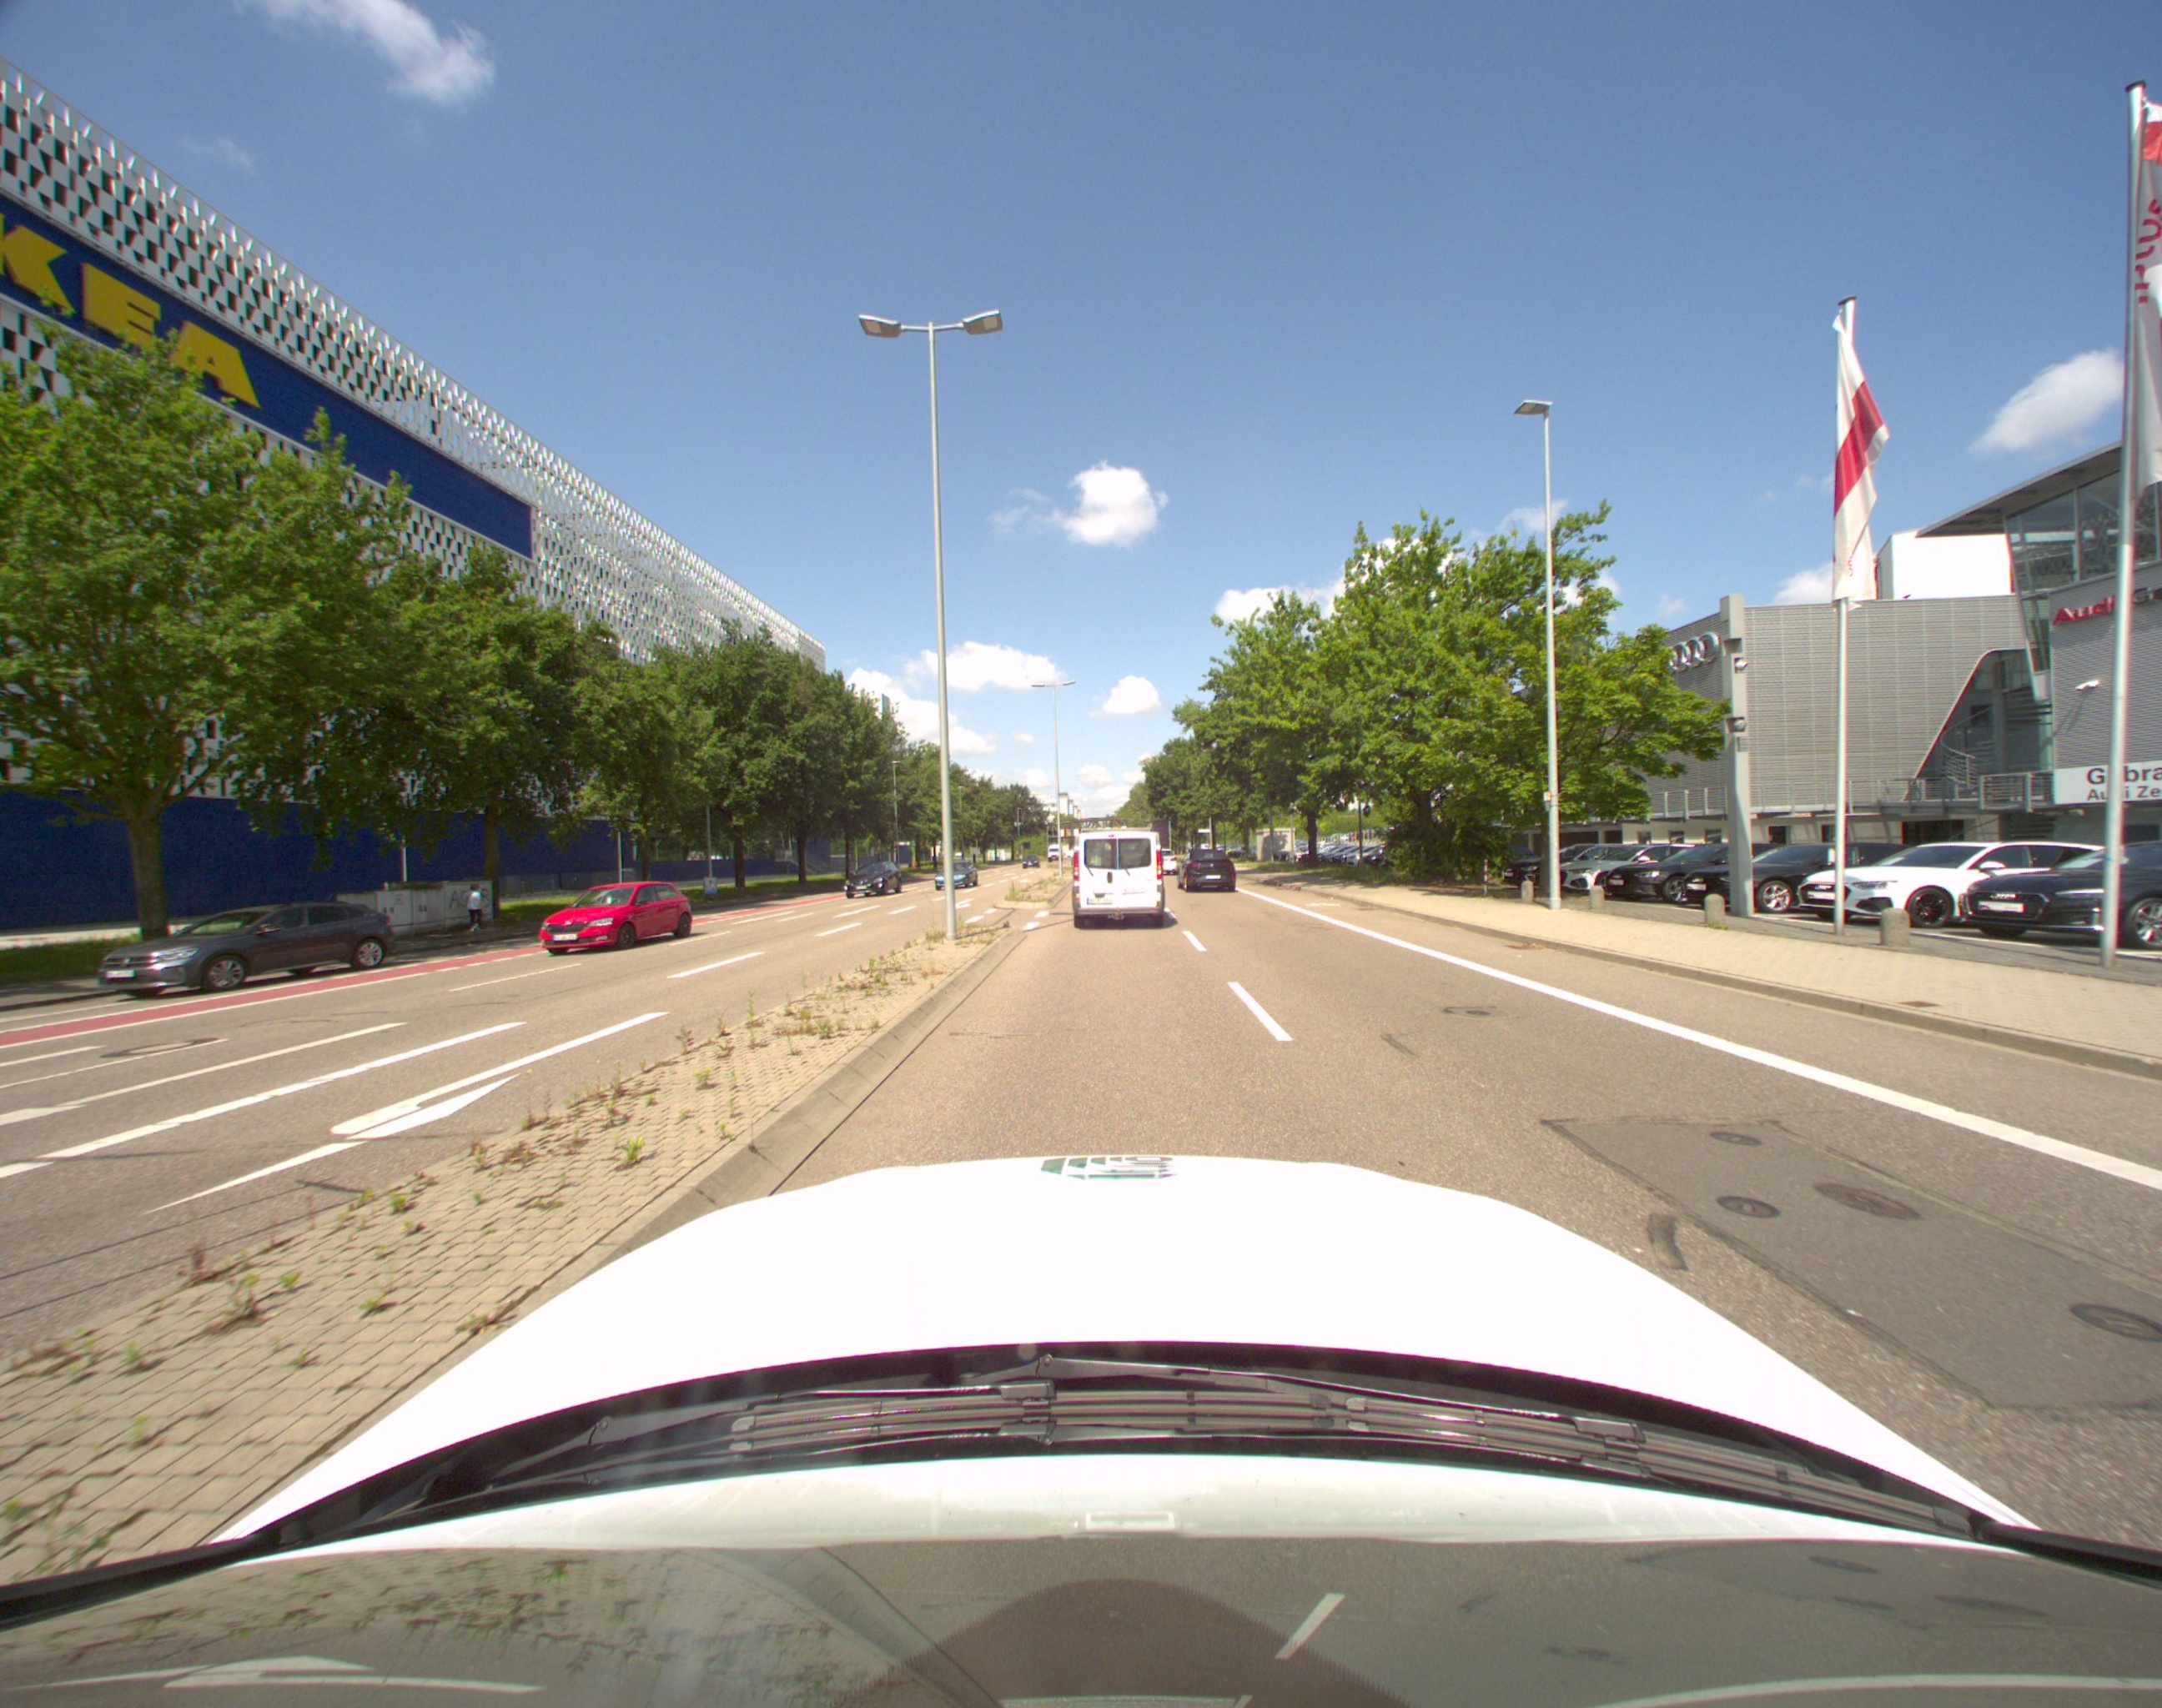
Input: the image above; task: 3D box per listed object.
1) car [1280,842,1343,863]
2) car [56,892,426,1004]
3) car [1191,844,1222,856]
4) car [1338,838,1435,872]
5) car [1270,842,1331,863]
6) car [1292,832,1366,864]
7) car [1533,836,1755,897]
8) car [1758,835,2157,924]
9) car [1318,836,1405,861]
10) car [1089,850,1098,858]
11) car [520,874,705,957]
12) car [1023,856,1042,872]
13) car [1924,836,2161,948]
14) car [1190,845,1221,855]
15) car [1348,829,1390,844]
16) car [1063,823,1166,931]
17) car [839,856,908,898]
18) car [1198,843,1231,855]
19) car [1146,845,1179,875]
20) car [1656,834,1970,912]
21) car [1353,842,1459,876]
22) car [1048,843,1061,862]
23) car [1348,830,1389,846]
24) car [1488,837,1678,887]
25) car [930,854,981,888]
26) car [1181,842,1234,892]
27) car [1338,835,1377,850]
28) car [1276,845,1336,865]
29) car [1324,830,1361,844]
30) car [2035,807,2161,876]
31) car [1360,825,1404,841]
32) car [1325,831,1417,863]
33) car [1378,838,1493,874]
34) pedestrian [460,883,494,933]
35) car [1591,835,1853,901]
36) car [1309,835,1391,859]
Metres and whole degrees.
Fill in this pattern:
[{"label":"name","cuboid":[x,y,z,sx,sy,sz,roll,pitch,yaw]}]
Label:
[{"label":"car","cuboid":[16.758,-0.099,59.394,4.092,1.404,1.819,-2,0,1]},{"label":"car","cuboid":[-15.762,1.670,15.731,1.877,1.555,4.603,-2,0,13]},{"label":"car","cuboid":[18.574,-0.600,120.566,4.340,1.512,1.936,-1,2,0]},{"label":"car","cuboid":[16.425,0.039,43.968,4.558,1.678,1.908,-1,2,1]},{"label":"car","cuboid":[17.406,-0.108,64.589,4.338,1.513,1.856,-2,0,2]},{"label":"car","cuboid":[17.136,-0.443,56.325,4.558,2.049,1.908,-1,2,1]},{"label":"car","cuboid":[14.934,0.305,21.792,4.558,1.404,1.908,2,2,1]},{"label":"car","cuboid":[14.370,0.375,13.576,4.558,1.297,1.908,-1,2,1]},{"label":"car","cuboid":[16.773,-0.348,48.826,4.558,1.404,1.908,-1,2,1]},{"label":"car","cuboid":[2.959,-0.006,196.837,1.985,1.771,4.004,-1,2,3]},{"label":"car","cuboid":[-10.623,1.322,18.864,1.680,1.483,4.127,-4,0,2]},{"label":"car","cuboid":[-5.483,1.080,91.904,1.733,1.610,4.240,-5,0,0]},{"label":"car","cuboid":[14.564,0.438,10.897,4.558,1.297,1.908,-1,2,1]},{"label":"car","cuboid":[19.004,-0.625,124.386,4.340,1.512,1.936,-1,2,0]},{"label":"car","cuboid":[33.962,-2.074,96.019,4.334,1.774,1.939,-1,2,5]},{"label":"car","cuboid":[0.809,0.398,18.210,1.964,2.059,4.570,-1,1,4]},{"label":"car","cuboid":[-10.080,1.087,39.936,1.921,1.755,4.822,-4,0,1]},{"label":"car","cuboid":[18.561,-0.739,113.613,4.340,1.512,1.936,-1,2,0]},{"label":"car","cuboid":[4.835,0.324,48.738,1.766,1.629,4.005,-1,1,4]},{"label":"car","cuboid":[14.609,0.345,16.478,4.558,1.297,1.908,2,2,1]},{"label":"car","cuboid":[16.390,0.238,41.216,4.558,1.499,1.908,-2,0,1]},{"label":"car","cuboid":[-4.259,-0.213,130.126,2.018,2.893,6.377,-2,0,-2]},{"label":"car","cuboid":[34.762,-1.946,98.503,4.334,1.774,1.939,-1,2,5]},{"label":"car","cuboid":[15.089,0.206,24.672,4.558,1.404,1.908,0,2,1]},{"label":"car","cuboid":[-6.510,0.843,42.773,1.767,1.548,4.822,-4,0,1]},{"label":"car","cuboid":[4.610,0.428,30.092,1.764,1.629,4.009,-1,1,7]},{"label":"car","cuboid":[35.091,-1.499,103.524,4.334,1.774,1.939,-1,2,5]},{"label":"car","cuboid":[17.111,0.080,61.967,4.091,1.445,1.857,-1,1,2]},{"label":"car","cuboid":[34.931,-2.321,108.812,4.334,1.774,1.939,-1,2,5]},{"label":"car","cuboid":[25.497,-0.340,18.924,4.330,1.499,1.908,-2,0,1]},{"label":"car","cuboid":[34.422,-2.453,93.237,4.334,1.774,1.939,-1,2,5]},{"label":"car","cuboid":[16.459,-0.414,46.374,4.558,1.678,1.908,-1,2,1]},{"label":"car","cuboid":[16.614,0.103,38.295,4.558,1.499,1.908,-2,0,1]},{"label":"pedestrian","cuboid":[-19.975,1.776,26.948,0.500,1.555,0.761,-2,0,2]},{"label":"car","cuboid":[14.796,0.288,19.001,4.558,1.383,1.908,1,2,1]},{"label":"car","cuboid":[16.930,-0.441,51.436,4.558,1.404,1.908,-1,2,1]}]
